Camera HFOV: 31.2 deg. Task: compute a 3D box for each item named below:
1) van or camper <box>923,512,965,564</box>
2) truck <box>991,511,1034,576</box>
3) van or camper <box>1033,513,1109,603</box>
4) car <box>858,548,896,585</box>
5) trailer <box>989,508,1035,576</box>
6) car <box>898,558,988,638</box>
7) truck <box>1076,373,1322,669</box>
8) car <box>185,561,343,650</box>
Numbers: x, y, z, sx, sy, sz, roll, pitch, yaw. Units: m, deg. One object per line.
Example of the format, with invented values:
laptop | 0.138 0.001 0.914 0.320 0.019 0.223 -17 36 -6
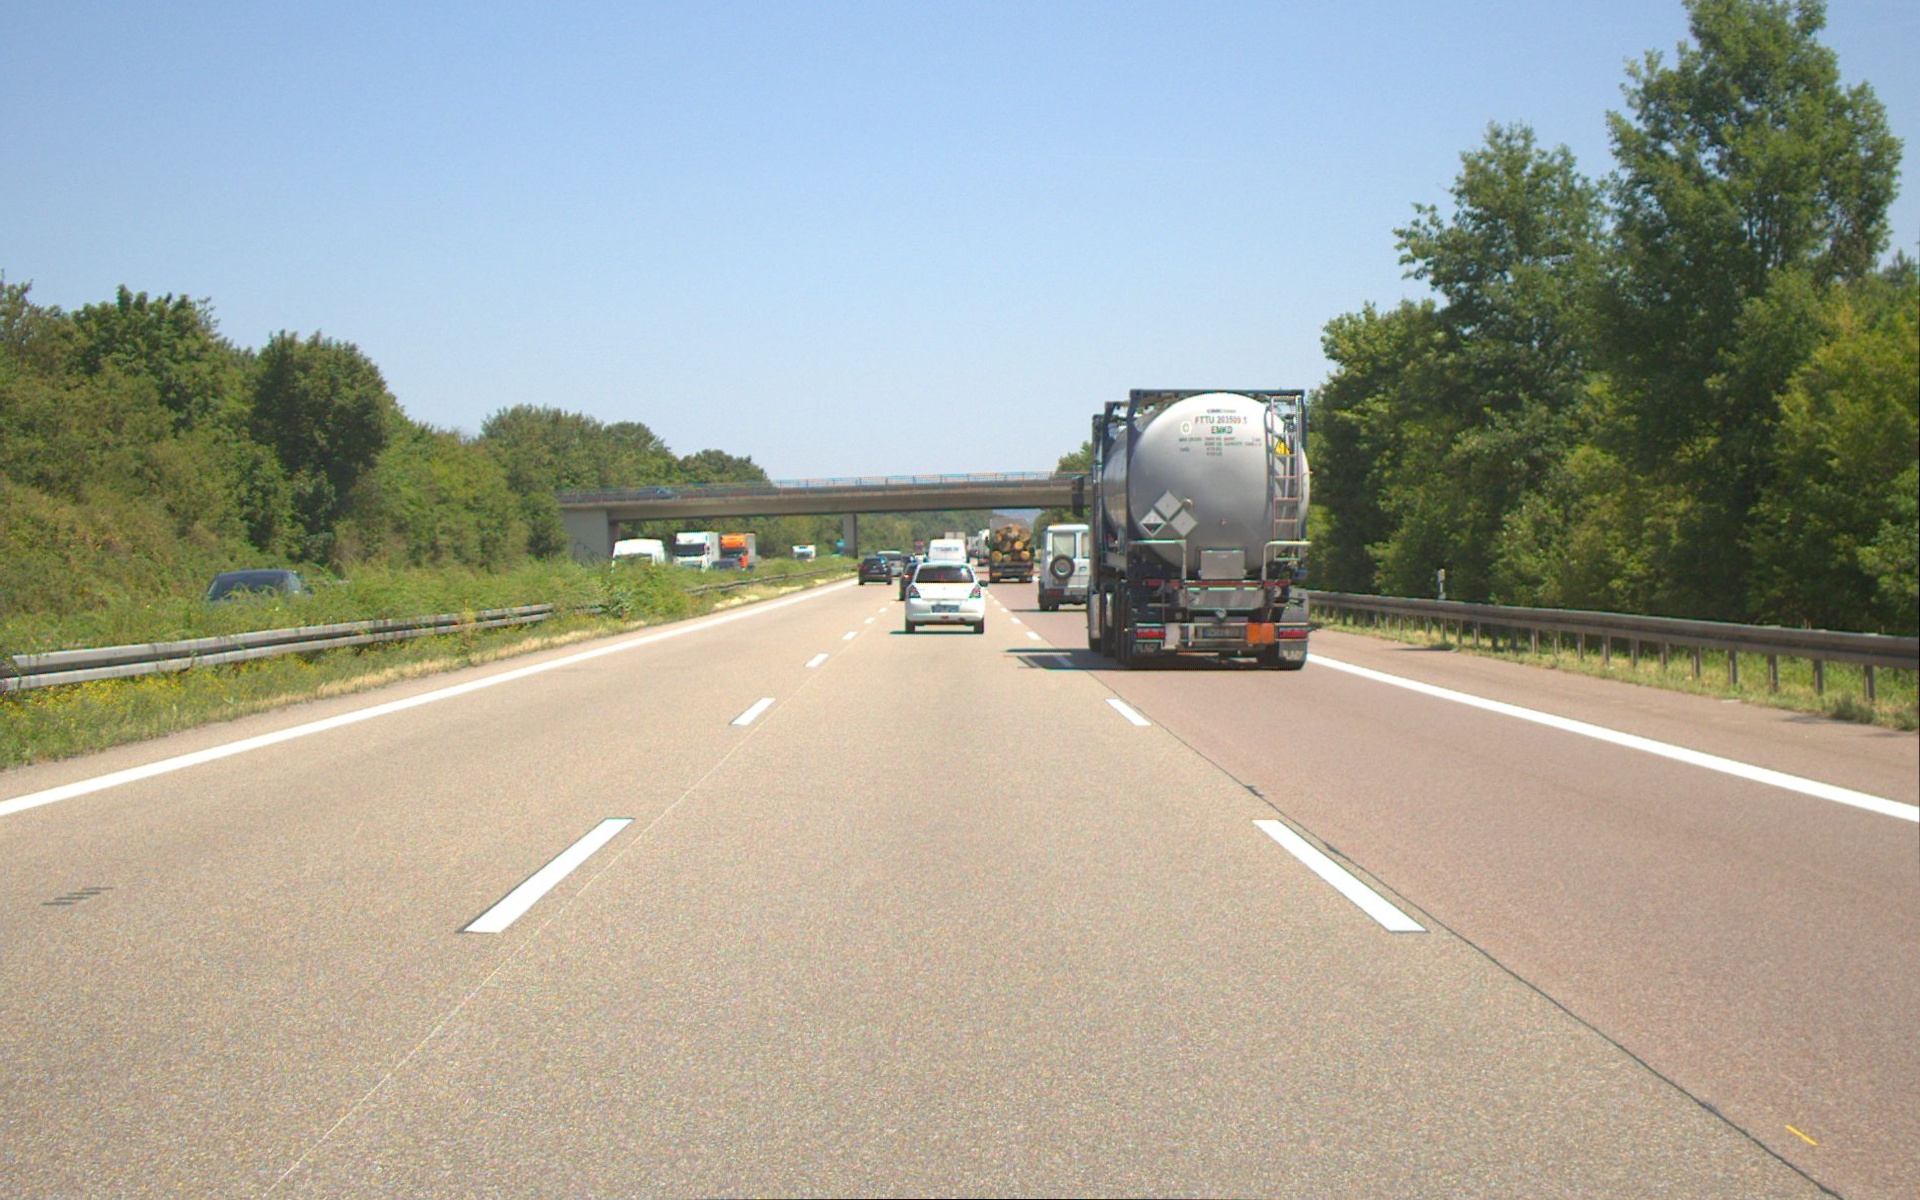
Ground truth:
van or camper | -0.793 -3.176 177.957 2.058 2.613 5.985 0 1 1
truck | 3.262 -3.505 213.764 2.670 3.981 6.636 0 1 1
van or camper | 3.395 -1.296 106.001 2.113 2.694 6.368 0 1 0
car | -4.668 -1.906 194.208 2.051 2.007 4.177 1 1 -1
trailer | 3.125 -3.430 206.518 2.653 3.945 13.636 0 1 1
car | -0.388 -0.066 73.926 1.857 1.646 4.000 1 1 -1
truck | 3.506 -1.153 53.890 2.798 4.032 13.355 1 1 0
car | -13.081 0.075 64.919 1.993 1.561 5.044 -1 1 -1
